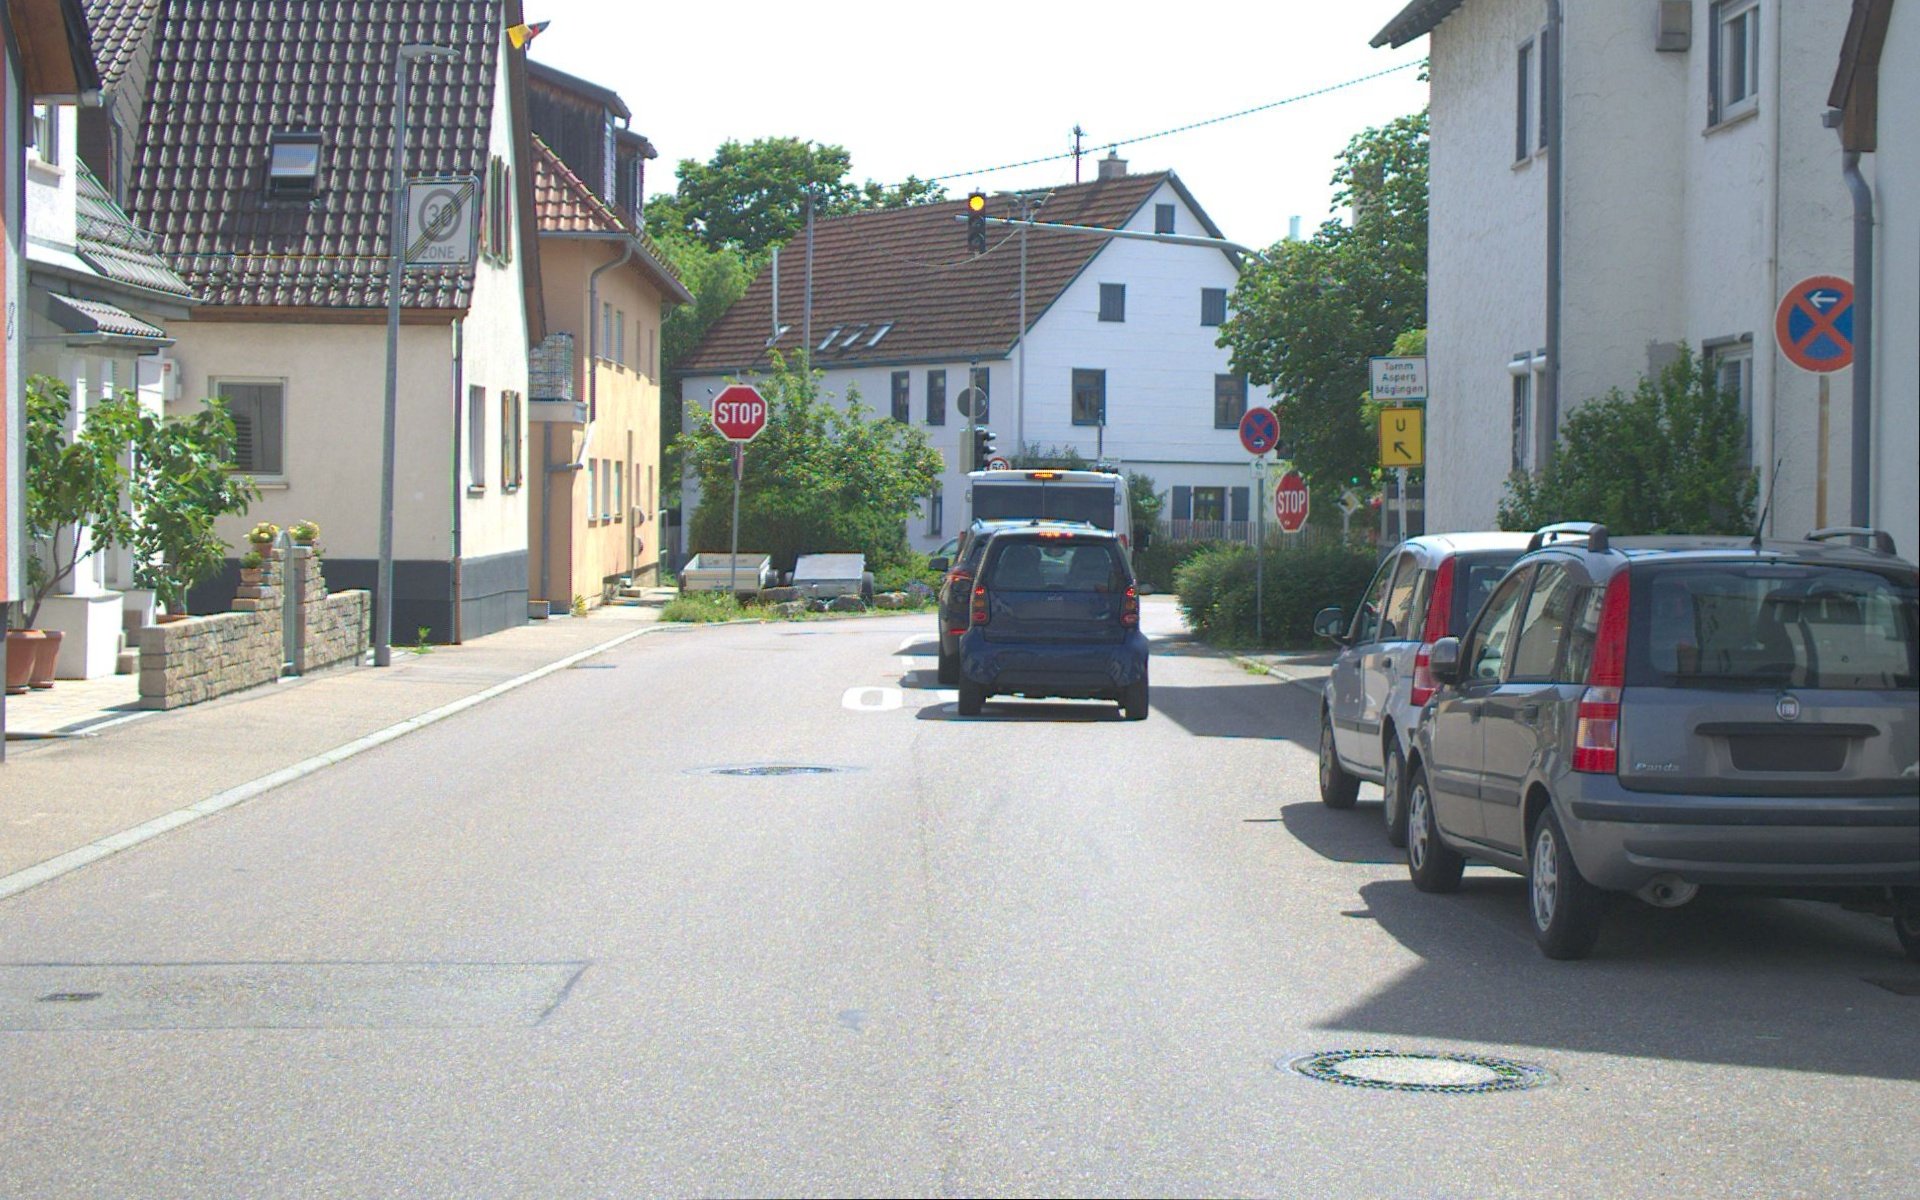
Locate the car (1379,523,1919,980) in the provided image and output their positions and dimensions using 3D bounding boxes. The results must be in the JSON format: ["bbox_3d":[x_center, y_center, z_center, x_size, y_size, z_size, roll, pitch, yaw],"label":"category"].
[{"bbox_3d":[2.751,0.488,13.516,1.567,1.540,3.450,1,1,-3],"label":"car"}]

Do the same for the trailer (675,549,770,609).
[{"bbox_3d":[-4.031,-0.369,58.452,1.502,0.924,1.012,3,1,1],"label":"trailer"}]

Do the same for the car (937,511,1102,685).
[{"bbox_3d":[0.623,-0.058,33.861,1.516,1.619,3.184,1,1,3],"label":"car"}]

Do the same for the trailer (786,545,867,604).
[{"bbox_3d":[-2.268,-0.439,58.378,1.311,0.967,0.933,1,1,1],"label":"trailer"}]

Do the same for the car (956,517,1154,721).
[{"bbox_3d":[0.818,0.113,28.782,1.516,1.561,3.184,2,1,3],"label":"car"}]

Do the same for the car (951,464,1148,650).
[{"bbox_3d":[1.177,-0.562,42.835,2.129,2.151,4.735,1,1,5],"label":"car"}]

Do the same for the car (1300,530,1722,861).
[{"bbox_3d":[2.745,0.414,17.772,1.498,1.508,3.362,1,1,-2],"label":"car"}]
